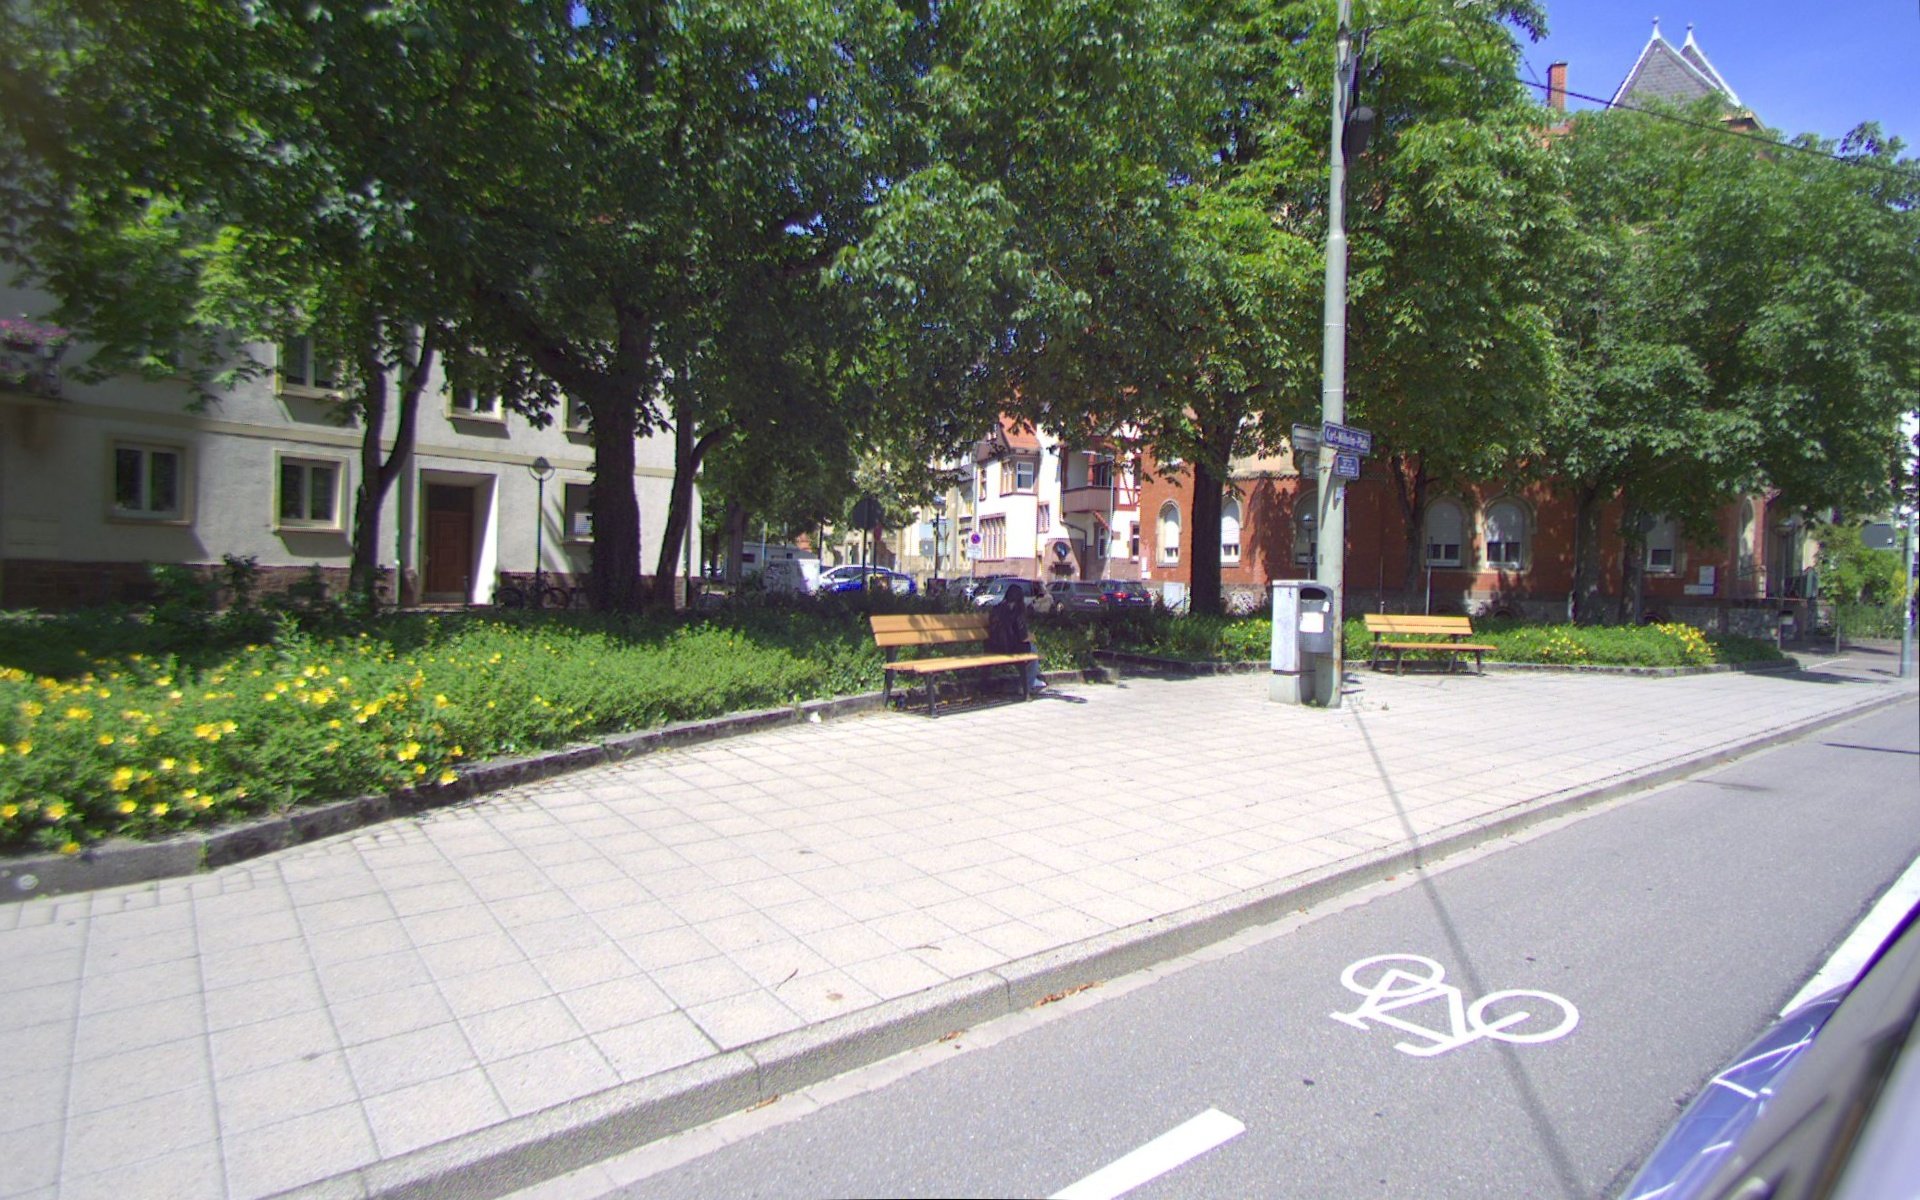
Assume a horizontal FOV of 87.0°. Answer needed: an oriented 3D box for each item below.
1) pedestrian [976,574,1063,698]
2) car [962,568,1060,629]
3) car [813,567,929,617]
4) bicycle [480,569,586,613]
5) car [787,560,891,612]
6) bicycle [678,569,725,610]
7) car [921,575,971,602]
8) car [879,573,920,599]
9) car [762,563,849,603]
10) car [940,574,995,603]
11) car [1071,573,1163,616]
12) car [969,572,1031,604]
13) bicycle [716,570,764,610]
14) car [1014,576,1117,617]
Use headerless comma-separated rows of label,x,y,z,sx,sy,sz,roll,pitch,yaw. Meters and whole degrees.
pedestrian,0.597,0.333,10.071,0.562,1.156,0.718,3,2,33
car,1.458,-0.050,27.649,1.684,1.525,3.628,2,1,20
car,-3.545,-0.327,40.012,4.219,1.903,1.942,0,0,-18
bicycle,-10.254,-0.226,24.372,2.230,1.024,0.751,-1,0,-41
car,-5.372,-0.633,44.825,4.219,2.219,1.942,0,0,-18
bicycle,-6.776,-0.264,26.471,0.736,1.024,2.273,0,0,-26
car,-0.918,-0.696,63.249,1.897,1.638,4.318,0,0,-19
car,-4.501,-1.012,74.458,1.897,1.897,4.318,0,0,-19
car,-8.084,-0.888,52.935,4.219,2.029,1.942,0,0,-18
car,0.380,-0.659,58.678,1.897,1.638,4.318,0,0,-19
car,6.275,-0.237,41.021,1.897,1.638,4.318,0,0,-19
car,2.067,-0.624,54.071,1.897,1.638,4.318,0,0,-19
bicycle,-5.869,-0.272,26.900,0.736,1.024,2.273,0,0,-26
car,4.009,-0.148,39.491,1.897,1.501,5.045,0,0,-21
